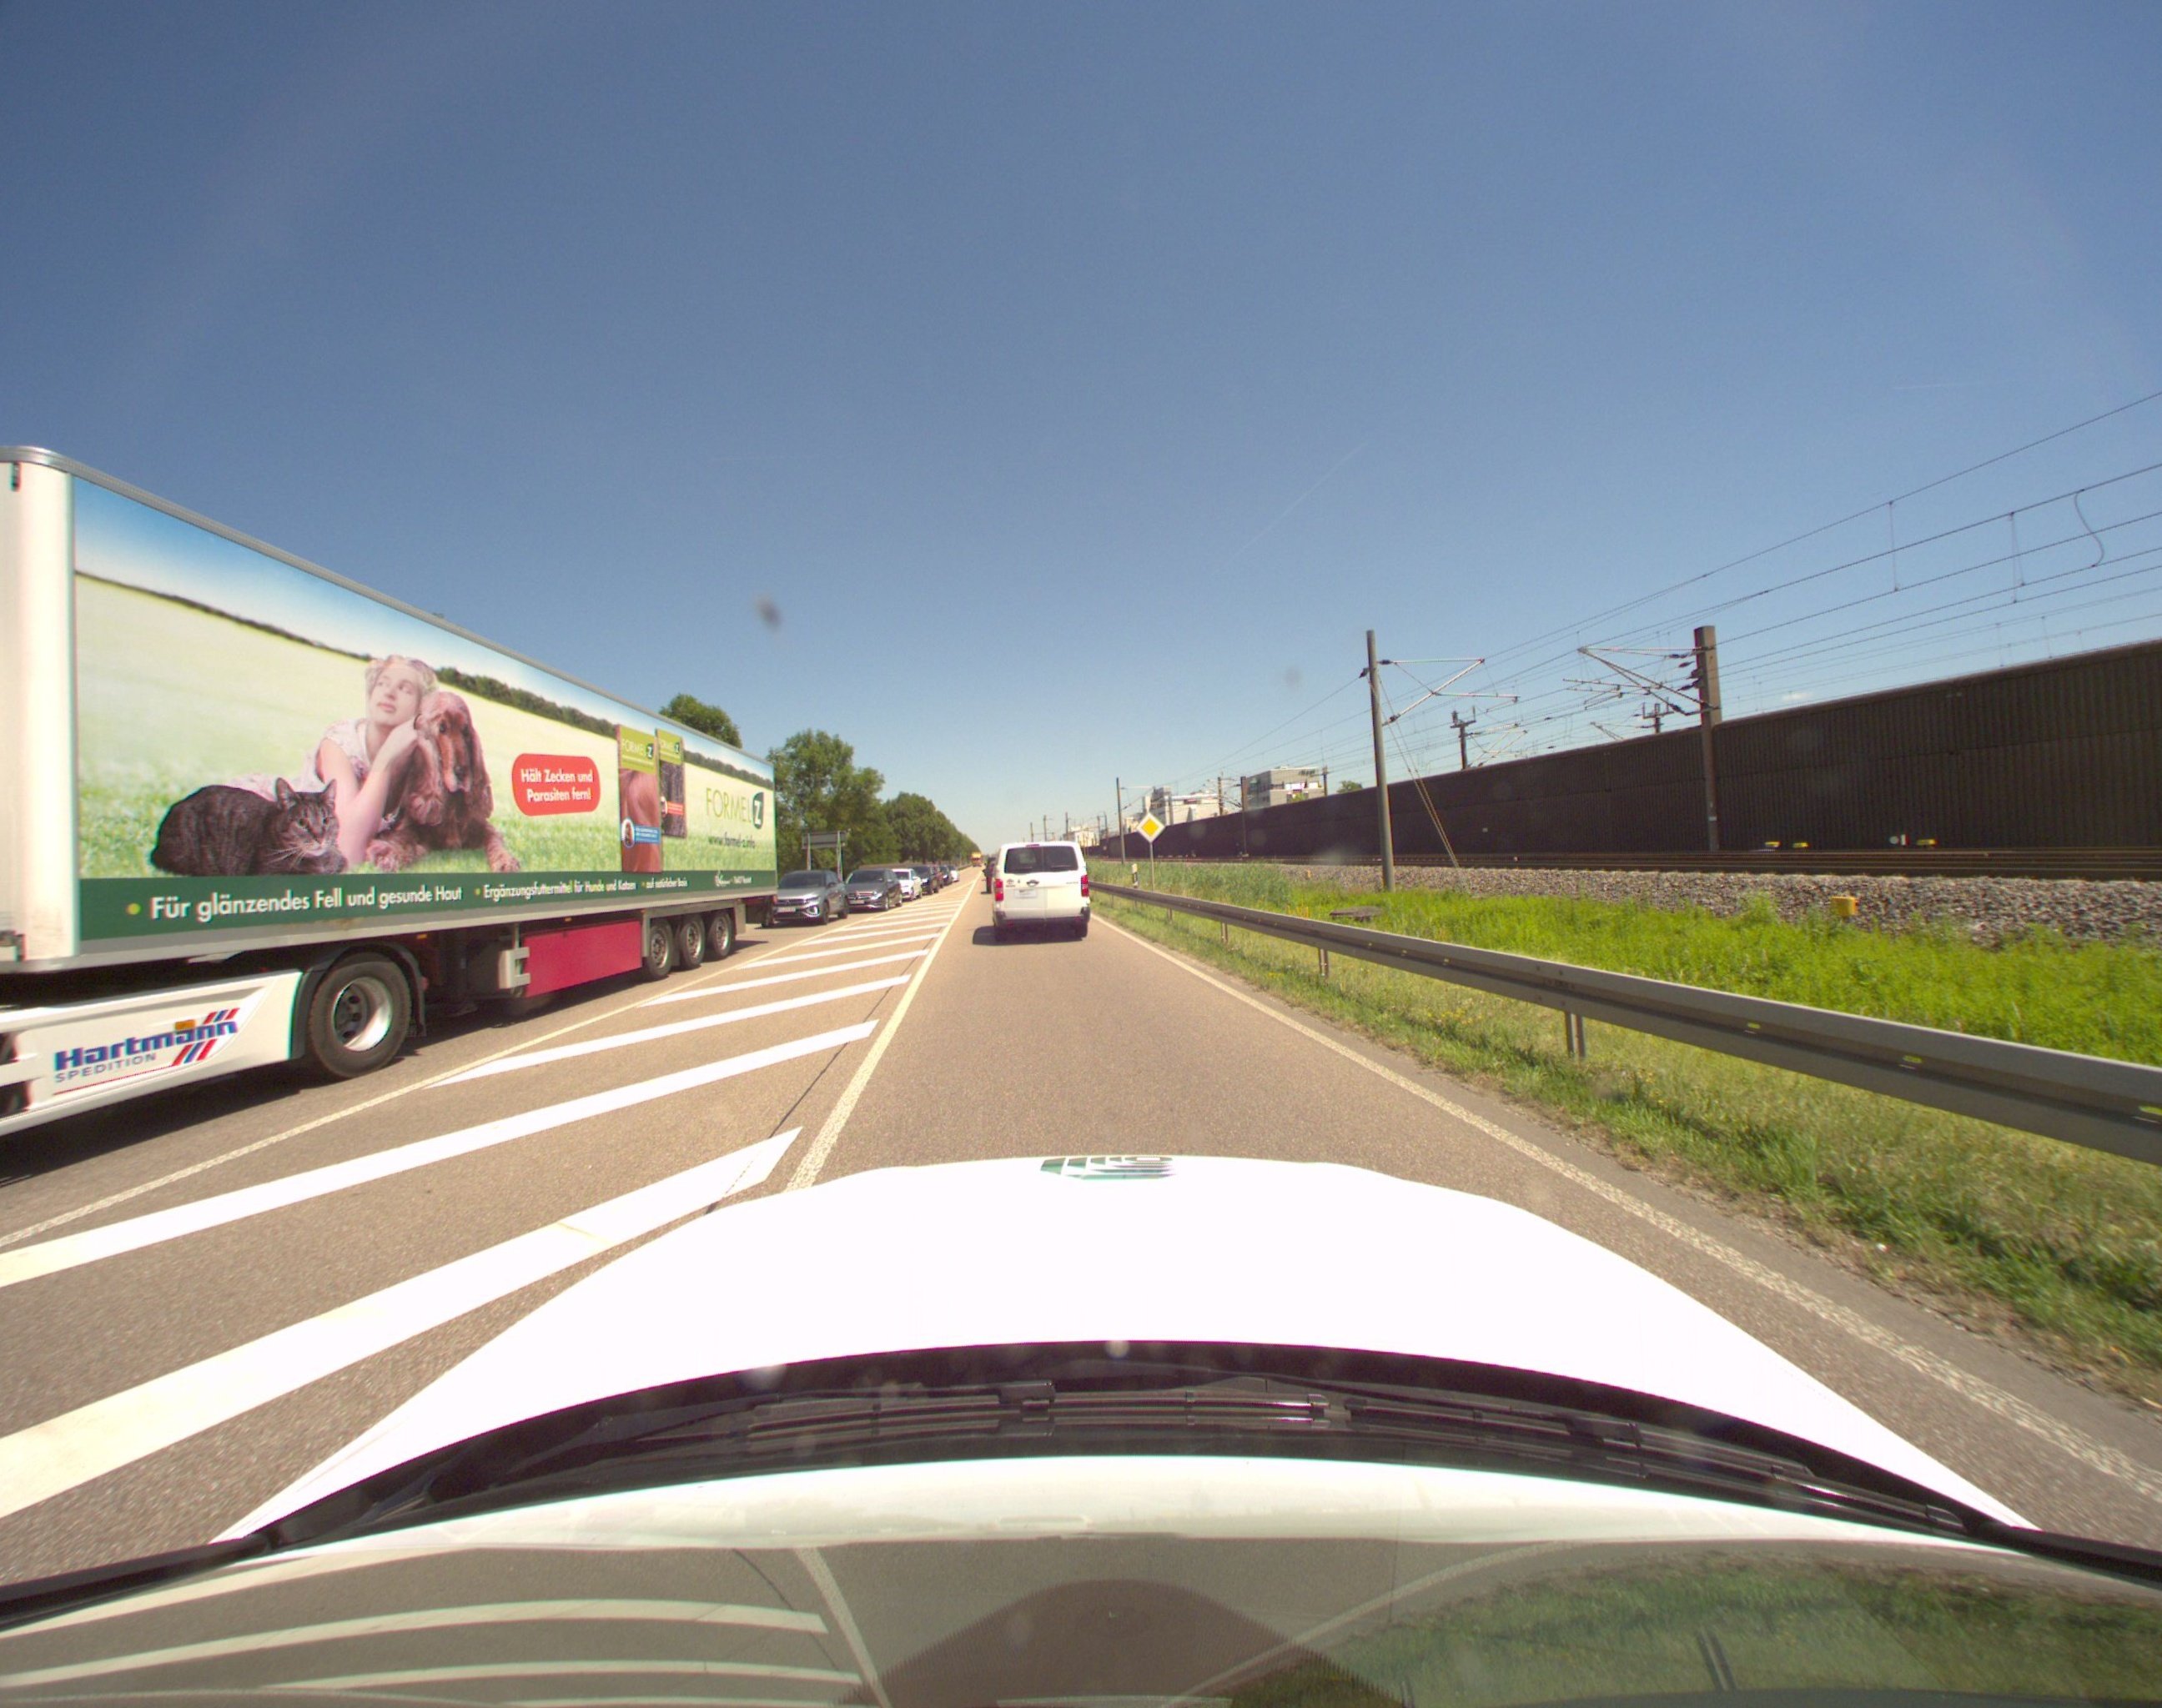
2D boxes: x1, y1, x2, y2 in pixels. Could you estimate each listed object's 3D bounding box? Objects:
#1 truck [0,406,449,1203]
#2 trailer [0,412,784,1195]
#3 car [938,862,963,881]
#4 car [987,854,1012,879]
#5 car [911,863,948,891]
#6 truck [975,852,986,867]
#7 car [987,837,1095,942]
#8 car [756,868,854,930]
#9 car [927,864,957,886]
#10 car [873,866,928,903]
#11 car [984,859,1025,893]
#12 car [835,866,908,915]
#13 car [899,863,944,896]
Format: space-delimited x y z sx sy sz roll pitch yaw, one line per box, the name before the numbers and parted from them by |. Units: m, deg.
truck | -6.836 -0.227 4.308 2.685 4.045 5.814 -2 -1 -5
trailer | -7.438 -0.148 11.086 2.685 4.045 14.098 -2 -1 -5
car | -10.735 1.436 67.146 1.683 1.460 4.608 -2 0 -5
car | -6.993 1.075 70.078 2.005 2.022 4.773 -2 0 -6
car | -9.730 1.424 52.578 1.752 1.631 4.274 -3 0 -3
truck | -28.264 1.510 228.299 2.789 3.840 9.302 -3 0 -6
car | -1.005 0.694 17.444 1.944 1.881 4.869 -1 -1 -7
car | -8.090 1.252 24.279 1.709 1.562 4.147 -3 0 -4
car | -10.177 1.507 59.833 1.682 1.460 4.609 -2 0 -4
car | -8.286 1.360 37.688 1.649 1.478 4.625 -3 0 -3
car | -4.052 1.119 42.661 1.905 1.649 4.129 -2 0 -8
car | -7.666 1.287 30.198 1.620 1.537 4.380 -4 0 -2
car | -8.658 1.362 44.457 1.713 1.589 4.529 -3 0 -3
